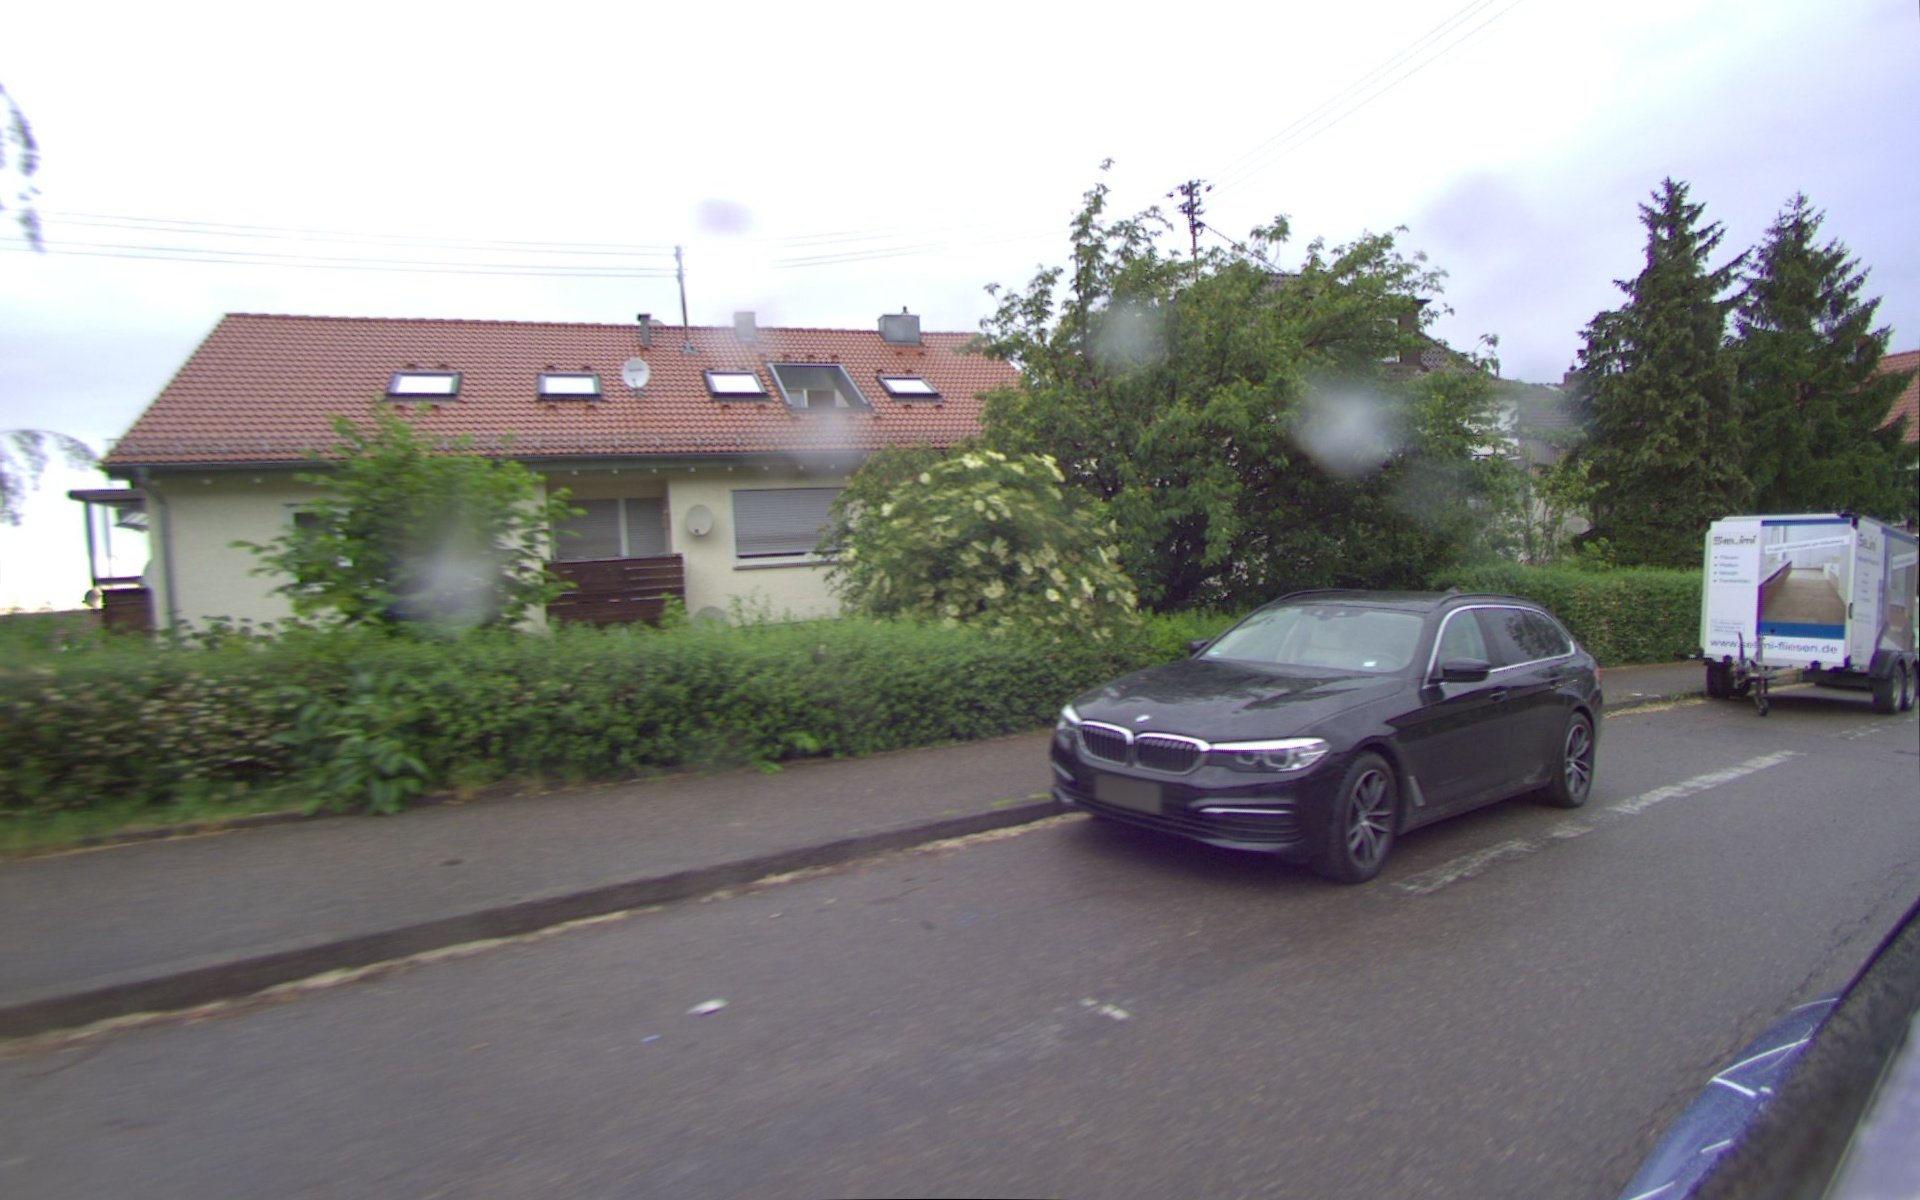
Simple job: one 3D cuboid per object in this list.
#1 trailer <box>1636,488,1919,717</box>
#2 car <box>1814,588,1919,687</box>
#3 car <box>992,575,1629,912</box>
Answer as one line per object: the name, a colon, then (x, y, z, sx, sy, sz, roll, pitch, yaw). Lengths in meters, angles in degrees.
trailer: (11.137, -0.019, 13.278, 5.330, 2.487, 1.955, -1, 1, -35)
car: (15.942, 0.539, 16.535, 4.612, 1.442, 1.754, -1, 1, -33)
car: (2.551, 0.592, 6.641, 4.703, 1.477, 1.797, -1, 1, -40)
